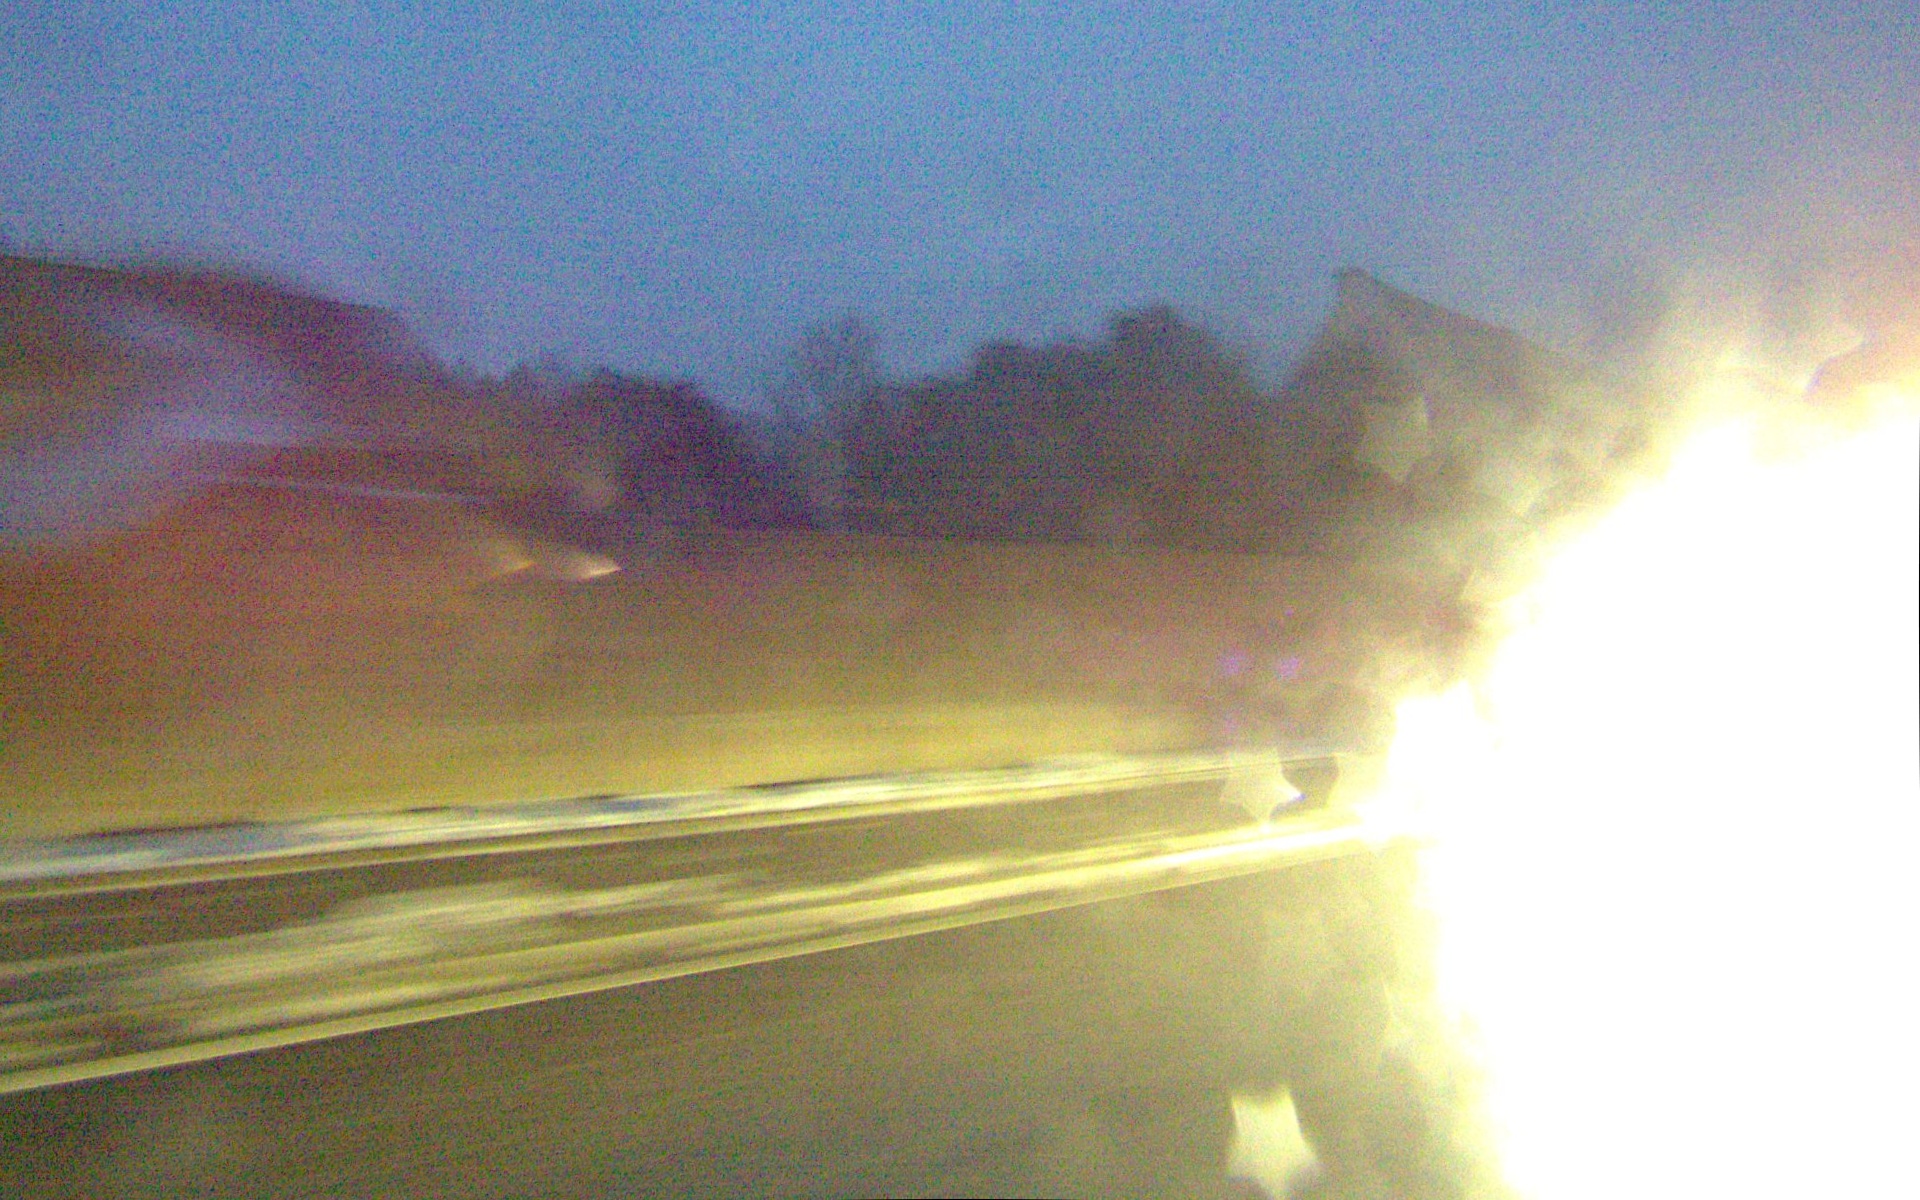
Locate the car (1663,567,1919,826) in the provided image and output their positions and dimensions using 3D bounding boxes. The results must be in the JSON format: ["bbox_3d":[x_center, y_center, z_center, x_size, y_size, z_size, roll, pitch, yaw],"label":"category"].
[{"bbox_3d":[8.061,0.711,8.658,3.959,1.802,1.964,2,1,-35],"label":"car"}]
